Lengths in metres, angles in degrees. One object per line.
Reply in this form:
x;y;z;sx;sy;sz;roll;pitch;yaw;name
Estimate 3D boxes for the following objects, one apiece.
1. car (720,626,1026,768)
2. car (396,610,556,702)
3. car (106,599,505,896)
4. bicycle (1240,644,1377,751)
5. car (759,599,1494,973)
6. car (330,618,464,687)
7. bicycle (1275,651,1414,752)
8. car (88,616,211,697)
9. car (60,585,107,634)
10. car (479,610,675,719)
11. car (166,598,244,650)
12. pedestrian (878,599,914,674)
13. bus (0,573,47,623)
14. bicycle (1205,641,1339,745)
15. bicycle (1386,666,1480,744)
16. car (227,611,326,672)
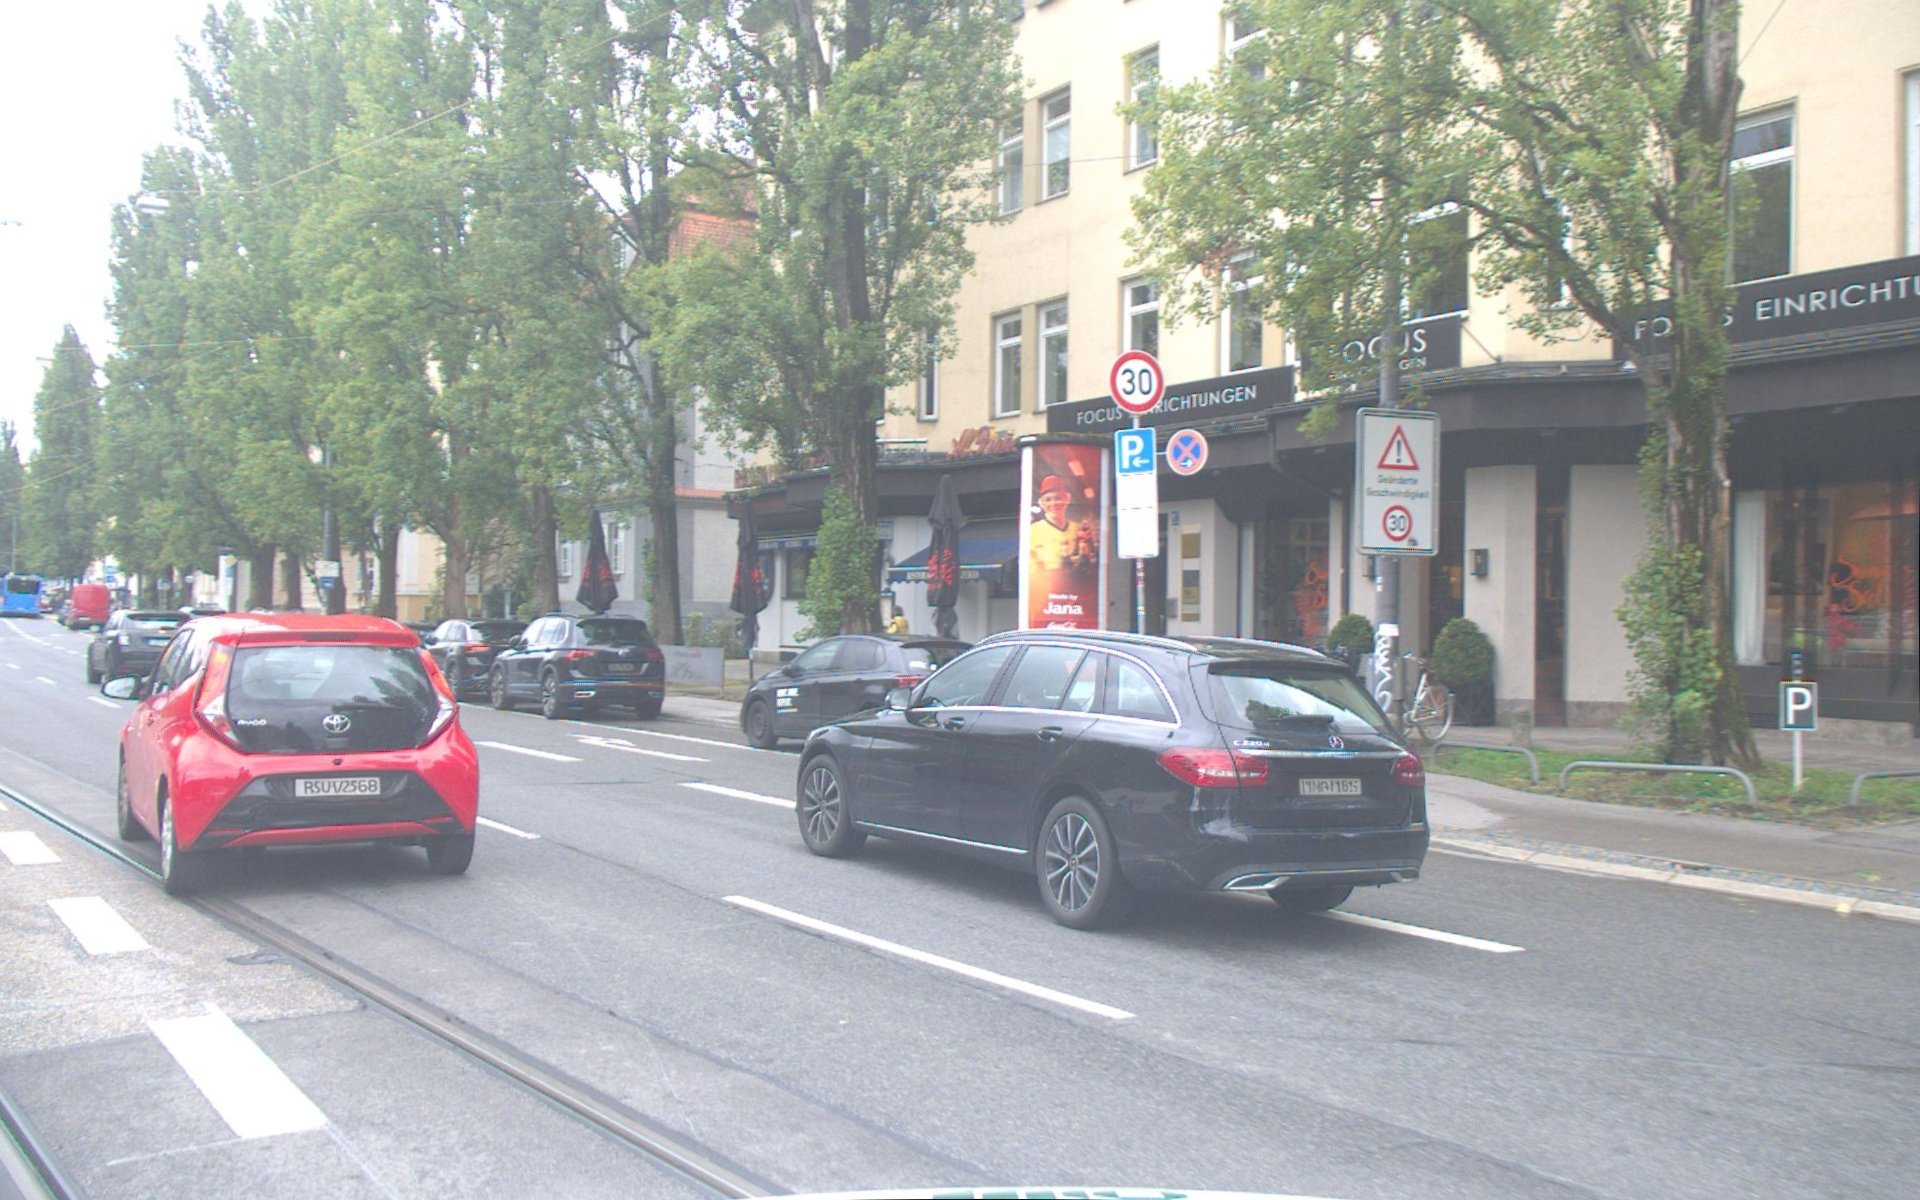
-1.141;1.090;19.966;1.786;1.492;3.947;2;-1;-37;car
-9.405;1.027;31.939;1.784;1.640;4.254;1;-1;-34;car
-4.077;0.758;10.018;1.613;1.465;3.338;3;-1;-33;car
4.139;1.126;19.551;1.869;1.206;0.490;1;-1;-37;bicycle
0.644;0.814;9.671;1.845;1.576;4.652;1;0;-32;car
-12.659;1.128;37.034;1.783;1.423;4.329;1;-1;-34;car
4.466;1.150;19.144;1.869;1.101;0.490;1;-1;-37;bicycle
-16.281;1.089;33.151;1.764;1.512;3.955;1;-1;-33;car
-51.031;0.530;96.242;1.975;2.619;4.627;2;1;-33;car
-6.427;1.002;27.421;1.706;1.640;4.417;1;-1;-34;car
-26.861;0.819;58.793;1.783;1.773;4.644;1;-1;-34;car
-1.387;0.790;35.904;0.567;1.589;0.490;2;0;-33;pedestrian
-71.987;-0.230;126.620;2.879;3.455;10.685;2;1;-33;bus
3.822;1.107;20.177;1.869;1.206;0.490;1;-1;-37;bicycle
5.794;1.276;20.234;1.357;0.899;0.384;1;-1;-37;bicycle
-19.748;1.154;47.692;1.783;1.640;4.493;1;-1;-34;car
